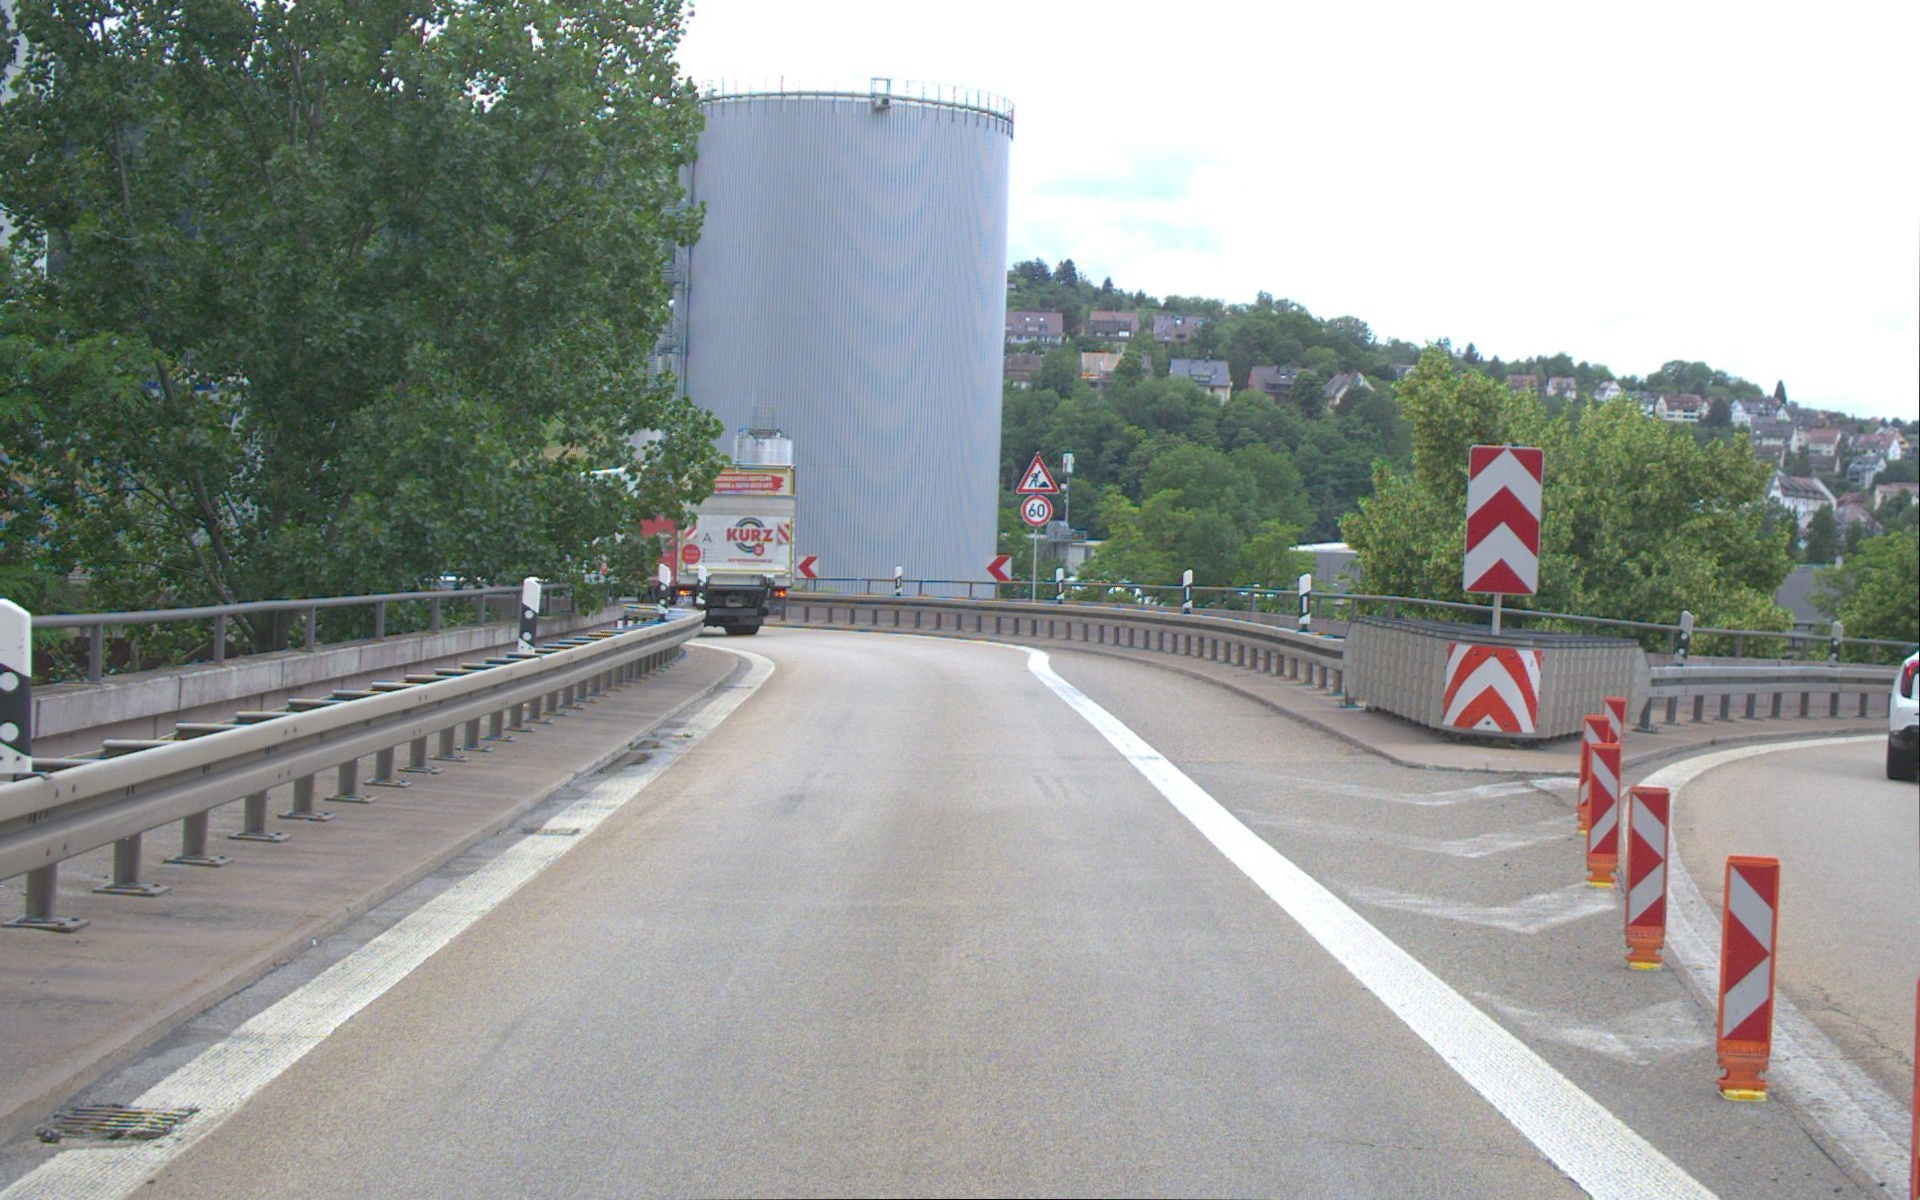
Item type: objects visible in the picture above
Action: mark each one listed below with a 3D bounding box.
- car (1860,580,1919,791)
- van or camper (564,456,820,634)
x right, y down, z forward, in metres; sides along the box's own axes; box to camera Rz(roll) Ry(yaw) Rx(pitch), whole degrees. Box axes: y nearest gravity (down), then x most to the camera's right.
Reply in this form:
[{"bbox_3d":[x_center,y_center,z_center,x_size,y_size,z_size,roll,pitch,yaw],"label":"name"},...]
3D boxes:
[{"bbox_3d":[9.429,0.810,31.441,1.925,1.779,4.111,6,2,11],"label":"car"},{"bbox_3d":[-5.889,-1.155,73.939,3.121,3.567,8.552,1,0,-21],"label":"van or camper"}]
